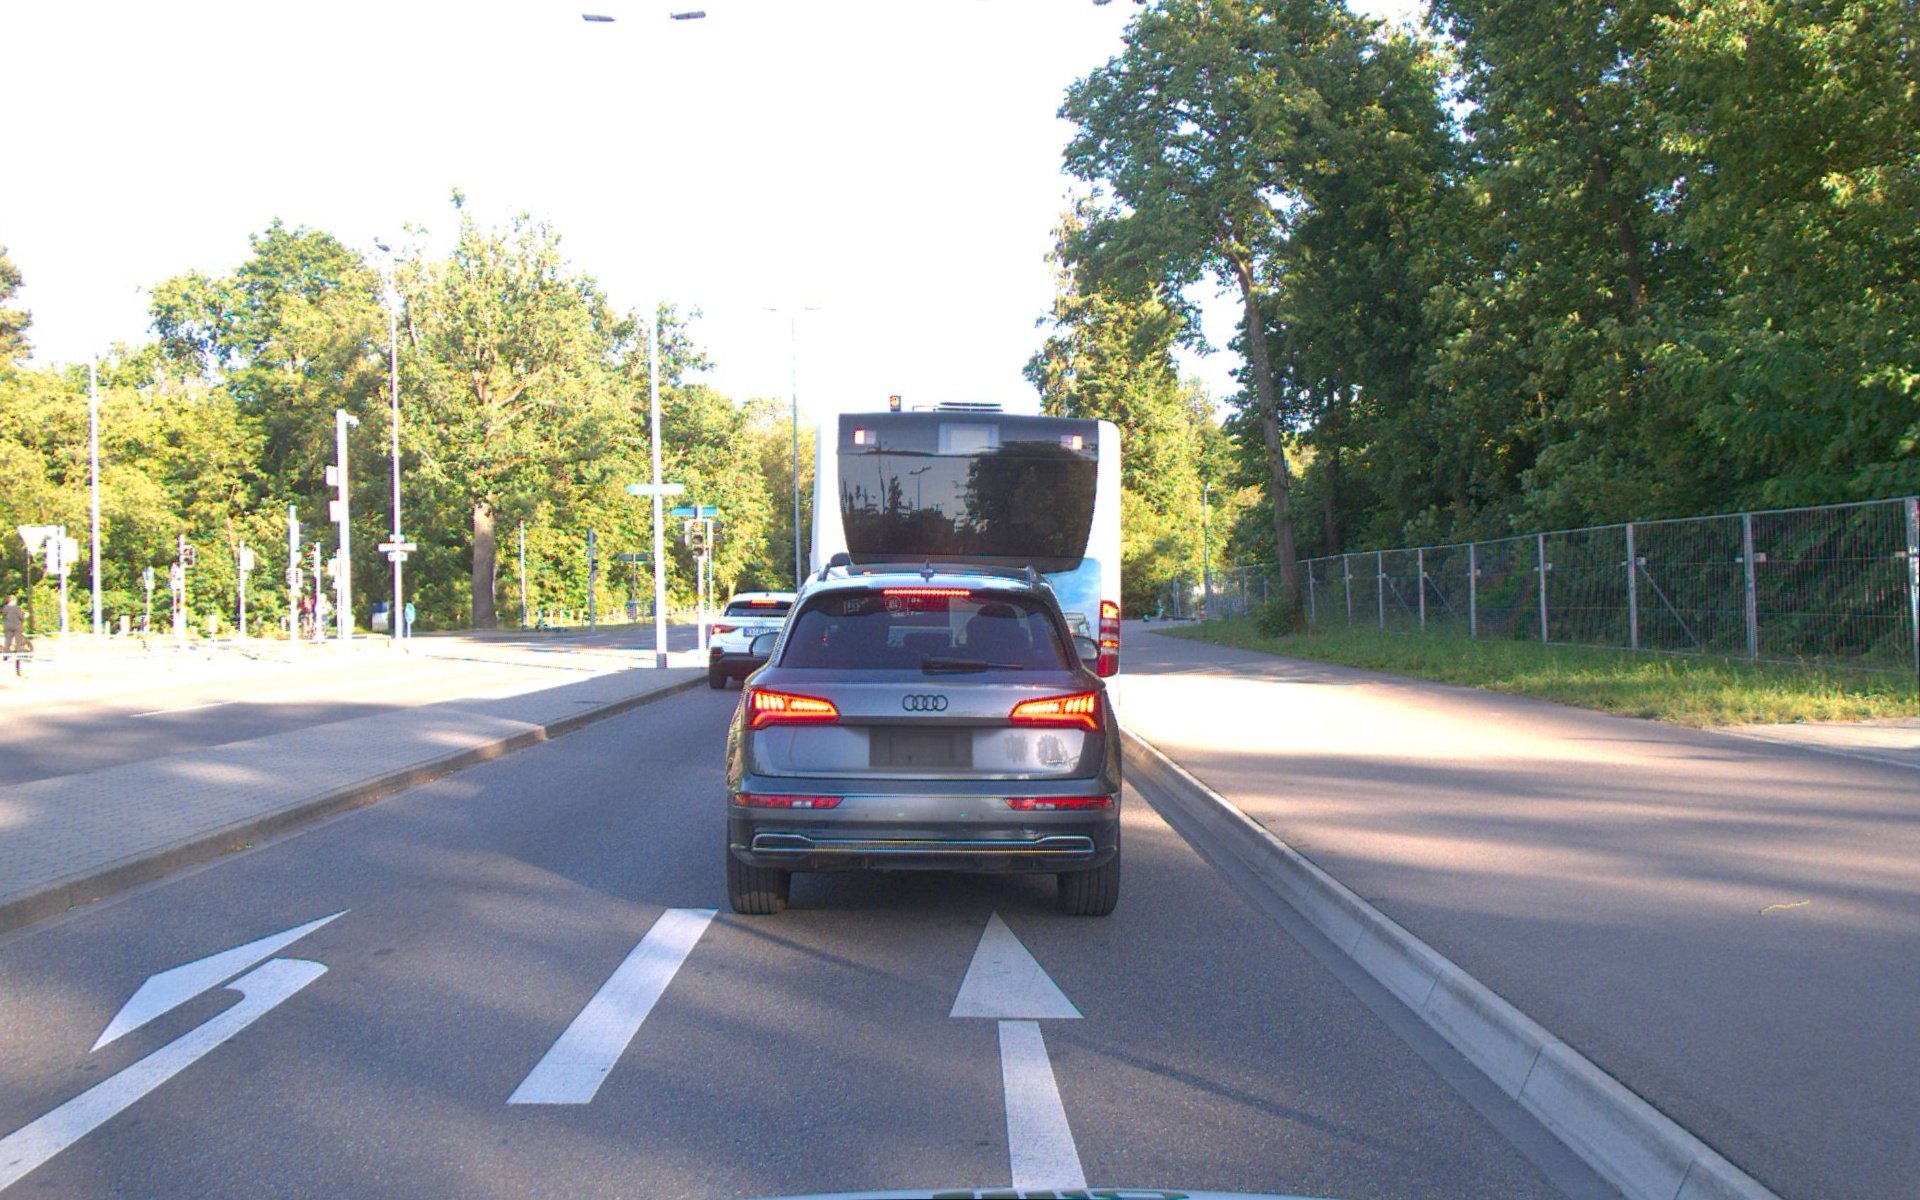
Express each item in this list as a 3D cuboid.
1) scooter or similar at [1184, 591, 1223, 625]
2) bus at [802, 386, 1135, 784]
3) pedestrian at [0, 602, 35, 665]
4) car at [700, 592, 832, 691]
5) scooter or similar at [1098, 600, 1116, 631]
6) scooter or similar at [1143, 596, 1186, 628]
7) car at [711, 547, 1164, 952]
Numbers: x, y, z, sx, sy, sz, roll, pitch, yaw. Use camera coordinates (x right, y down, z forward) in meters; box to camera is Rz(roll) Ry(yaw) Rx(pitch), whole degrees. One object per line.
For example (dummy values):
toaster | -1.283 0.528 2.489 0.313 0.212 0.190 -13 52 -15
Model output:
scooter or similar | 11.759 0.405 79.960 0.535 1.594 1.993 -2 0 -40
bus | 0.003 -0.080 17.360 2.542 3.041 9.324 0 0 -1
pedestrian | -24.138 0.843 42.367 0.643 1.587 0.531 -1 0 -43
car | -3.204 0.645 27.957 1.799 1.545 3.999 -1 0 -1
scooter or similar | 7.224 0.754 81.284 0.498 1.469 2.020 -2 0 -6
scooter or similar | 9.740 0.567 78.635 1.991 1.469 0.601 -2 0 -26
car | -0.120 0.617 8.857 1.860 1.660 3.999 1 0 -1
